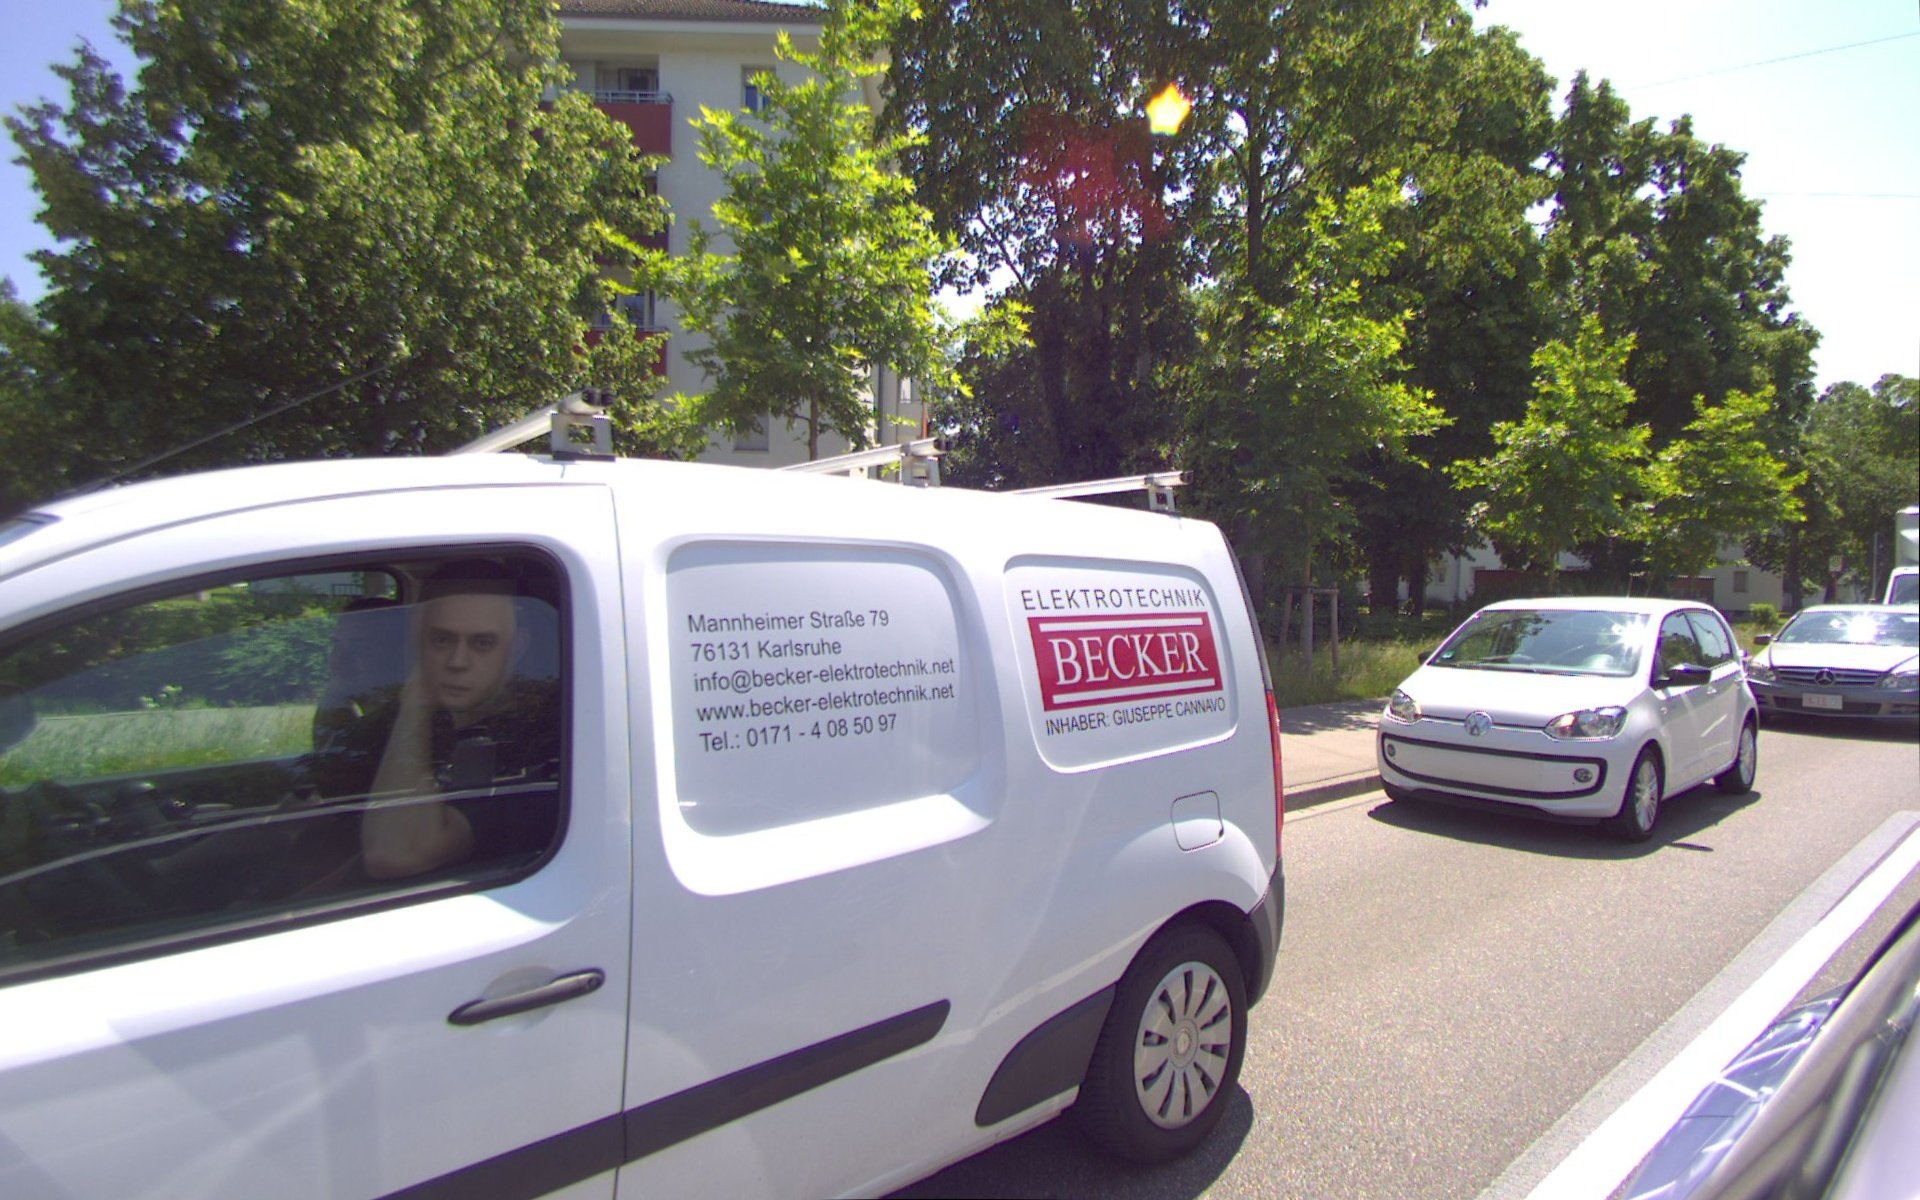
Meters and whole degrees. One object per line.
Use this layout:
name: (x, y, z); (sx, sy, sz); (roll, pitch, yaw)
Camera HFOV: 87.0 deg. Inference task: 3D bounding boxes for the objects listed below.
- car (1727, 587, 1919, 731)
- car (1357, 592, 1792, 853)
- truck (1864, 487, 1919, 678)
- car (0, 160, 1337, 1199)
car: (10.945, 0.605, 12.162); (3.900, 1.478, 1.903); (0, 0, -39)
car: (4.717, 0.682, 7.568); (3.786, 1.468, 1.662); (0, 0, -40)
truck: (20.151, -0.310, 19.751); (8.159, 3.319, 2.295); (0, 1, -38)
car: (-1.114, 0.438, 2.351); (4.376, 1.905, 1.828); (0, 0, -40)
